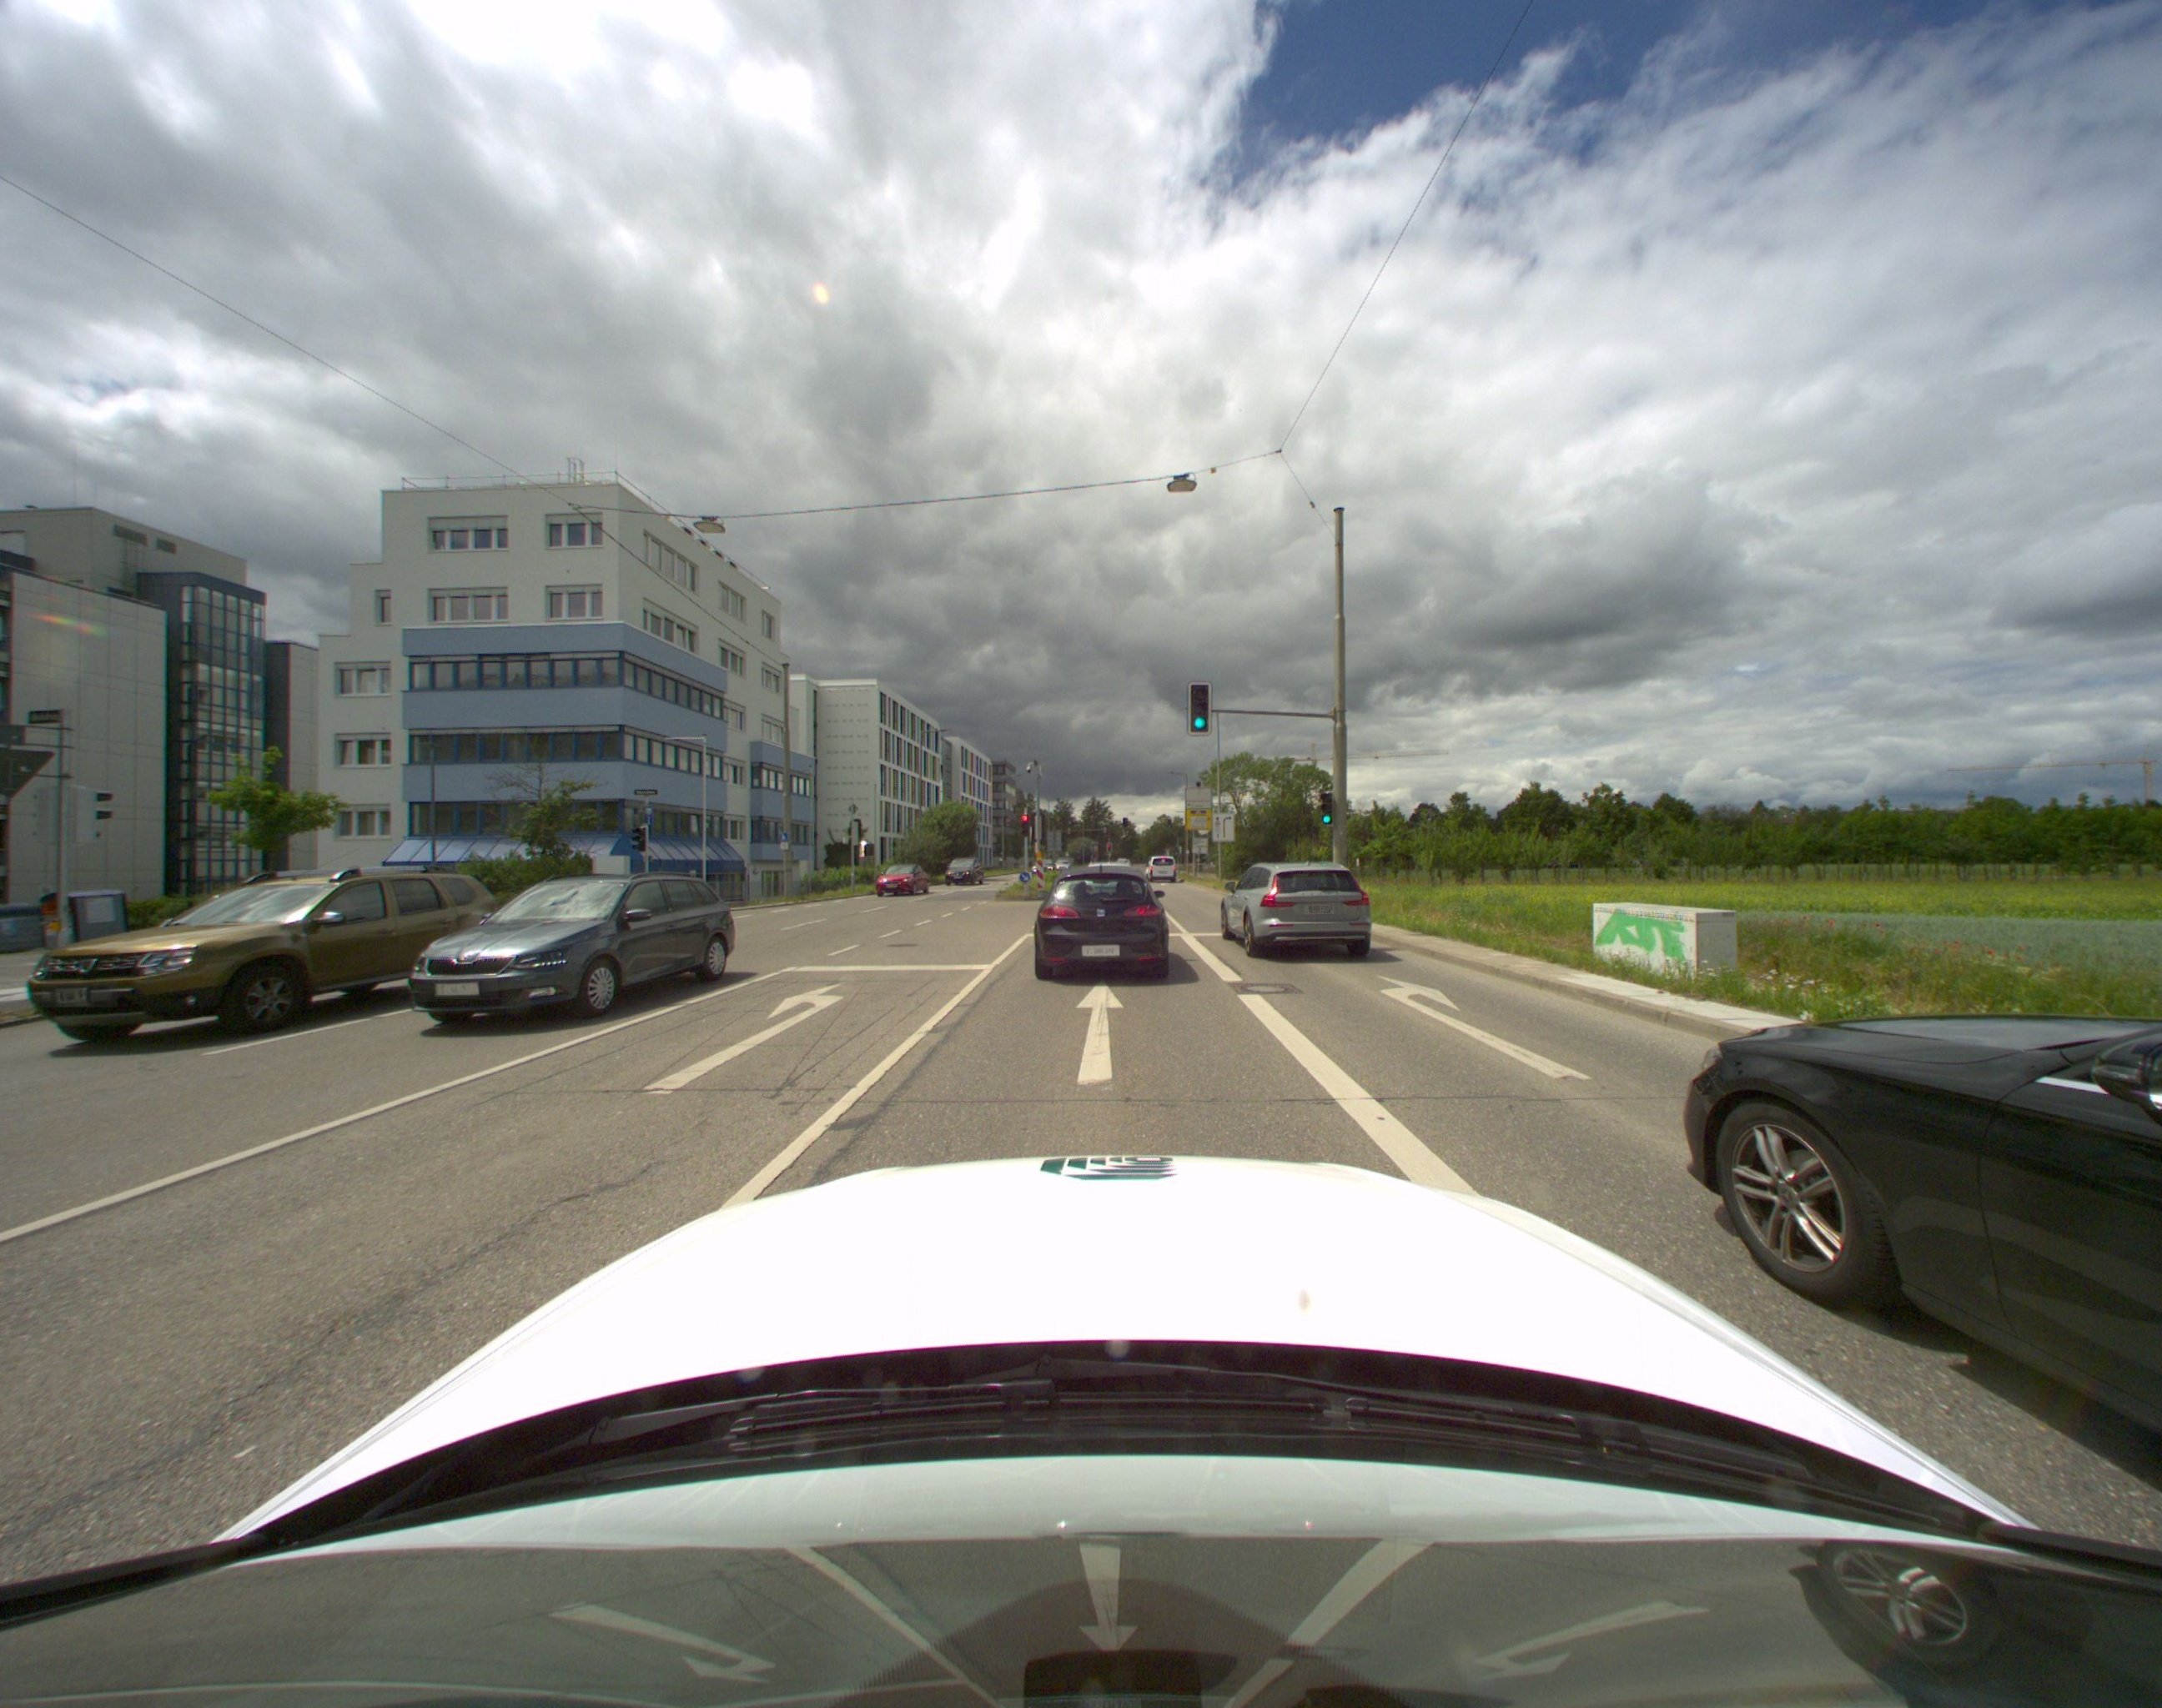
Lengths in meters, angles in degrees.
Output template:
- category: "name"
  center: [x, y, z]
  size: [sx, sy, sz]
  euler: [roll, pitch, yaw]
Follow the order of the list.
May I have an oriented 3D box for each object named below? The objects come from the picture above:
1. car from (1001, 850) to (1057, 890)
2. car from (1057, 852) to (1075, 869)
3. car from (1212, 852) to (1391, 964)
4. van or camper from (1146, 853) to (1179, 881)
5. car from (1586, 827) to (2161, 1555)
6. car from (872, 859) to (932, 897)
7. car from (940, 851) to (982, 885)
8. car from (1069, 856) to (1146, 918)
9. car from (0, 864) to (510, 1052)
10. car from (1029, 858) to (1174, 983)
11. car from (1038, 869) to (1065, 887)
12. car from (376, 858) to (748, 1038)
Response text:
- category: "car"
  center: [-2.014, 0.620, 32.469]
  size: [1.839, 1.461, 4.057]
  euler: [-1, -1, 2]
- category: "car"
  center: [-1.776, 0.781, 97.098]
  size: [1.986, 2.014, 4.001]
  euler: [-1, -1, 2]
- category: "car"
  center: [3.530, 0.819, 13.923]
  size: [1.951, 1.525, 4.341]
  euler: [-2, -1, 2]
- category: "van or camper"
  center: [5.805, 0.953, 58.745]
  size: [1.894, 1.926, 3.998]
  euler: [-1, -1, -1]
- category: "car"
  center: [3.210, 0.727, 1.394]
  size: [1.831, 1.538, 4.808]
  euler: [-1, 1, 2]
- category: "car"
  center: [-8.322, 1.100, 38.182]
  size: [1.769, 1.612, 4.001]
  euler: [-1, -1, 2]
- category: "car"
  center: [-7.560, 0.904, 51.730]
  size: [1.987, 2.014, 4.479]
  euler: [-1, -1, -1]
- category: "car"
  center: [0.727, 0.884, 23.242]
  size: [1.976, 1.590, 4.226]
  euler: [0, -1, 1]
- category: "car"
  center: [-8.960, 0.973, 9.424]
  size: [1.744, 1.631, 4.001]
  euler: [-3, -1, 2]
- category: "car"
  center: [0.429, 0.831, 11.806]
  size: [1.739, 1.484, 4.005]
  euler: [0, -1, 5]
- category: "car"
  center: [-2.474, 2.008, 69.454]
  size: [1.986, 1.409, 4.001]
  euler: [-1, -1, 2]
- category: "car"
  center: [-5.685, 0.896, 9.638]
  size: [1.662, 1.524, 4.010]
  euler: [-3, 1, 2]
